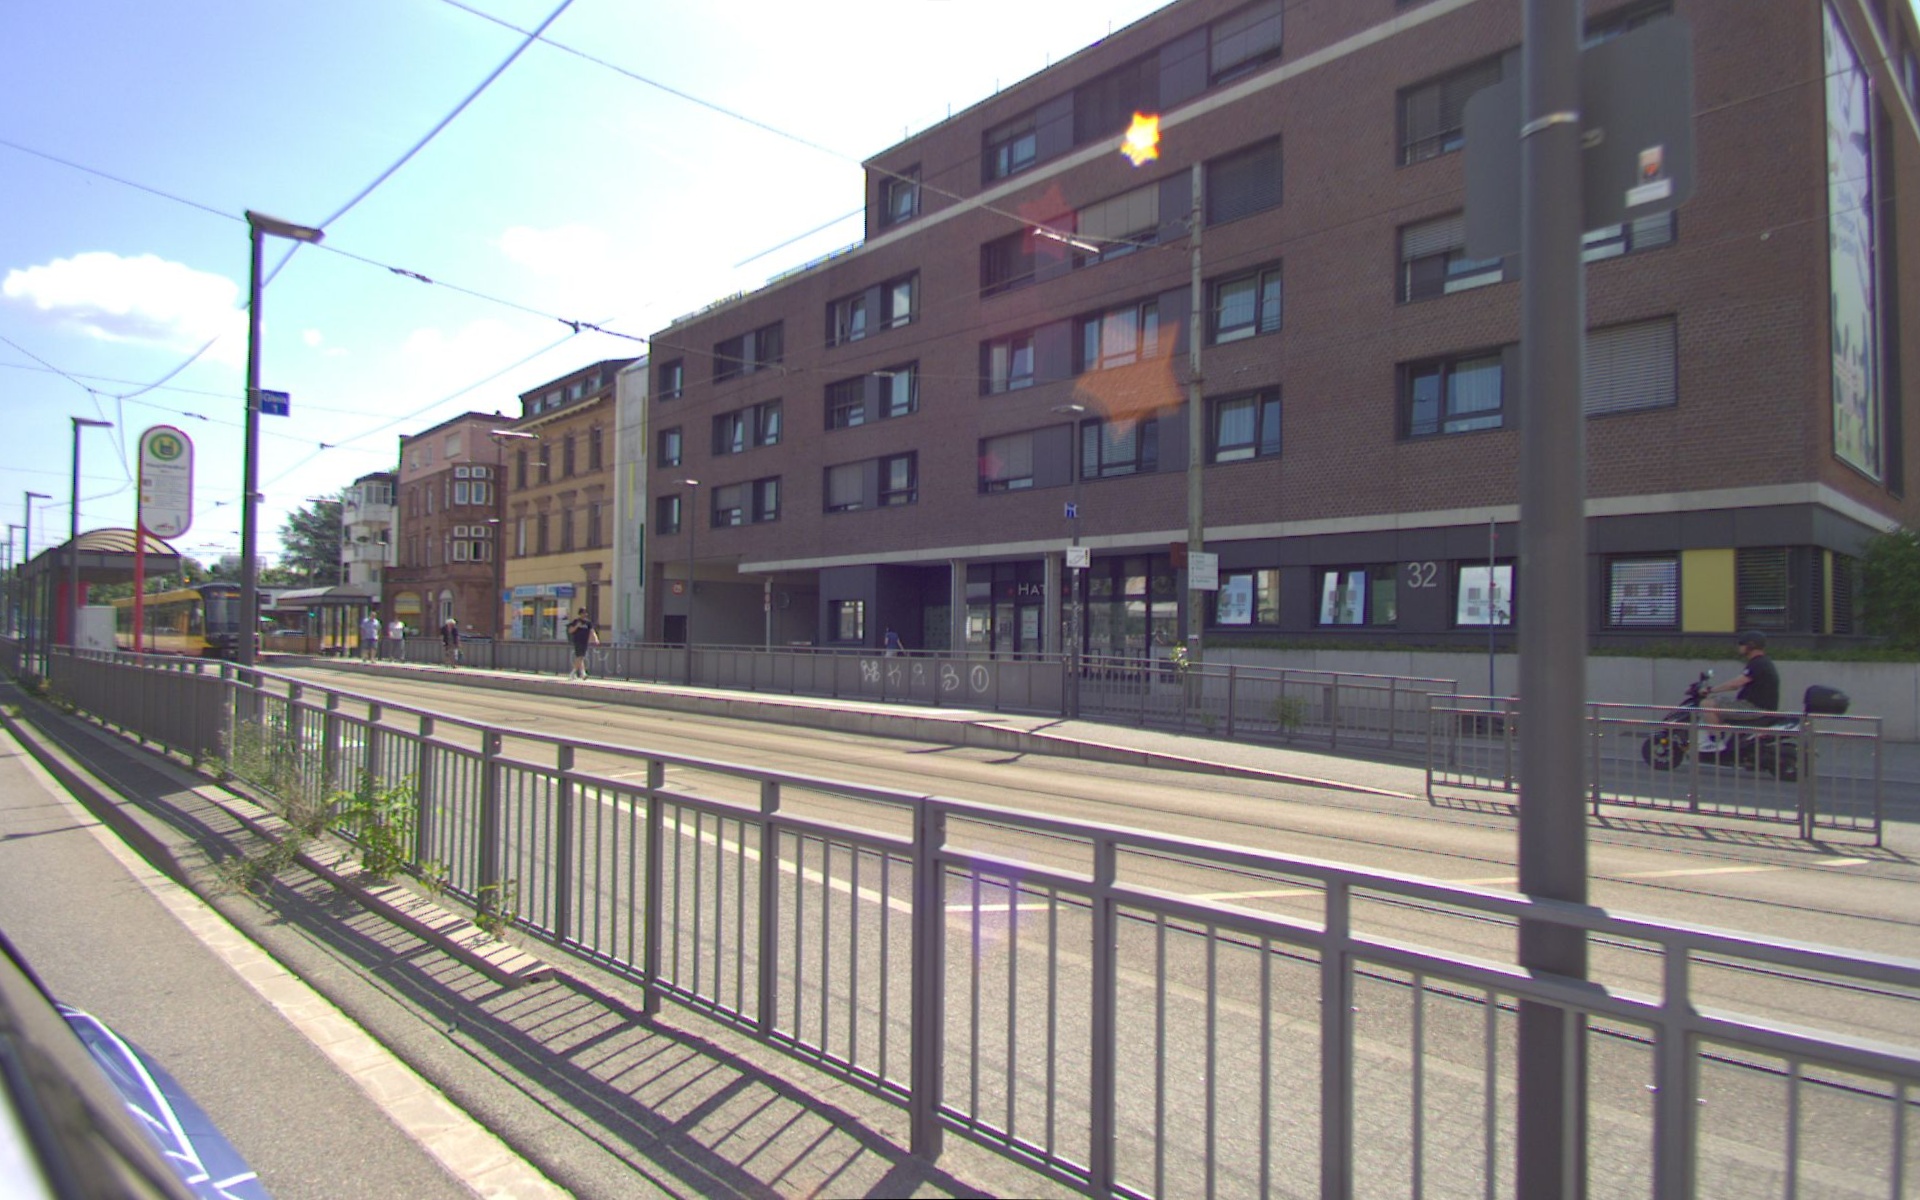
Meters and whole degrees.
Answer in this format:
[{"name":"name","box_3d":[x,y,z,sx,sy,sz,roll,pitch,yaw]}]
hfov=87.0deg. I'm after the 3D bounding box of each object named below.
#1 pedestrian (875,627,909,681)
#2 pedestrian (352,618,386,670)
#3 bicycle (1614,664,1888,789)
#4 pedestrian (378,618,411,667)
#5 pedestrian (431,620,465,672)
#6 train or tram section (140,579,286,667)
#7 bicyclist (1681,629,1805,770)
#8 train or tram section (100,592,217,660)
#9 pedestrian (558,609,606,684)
[{"name":"pedestrian","box_3d":[-2.050,1.618,30.656,0.761,1.608,0.677,-2,-4,44]},{"name":"pedestrian","box_3d":[-20.871,1.549,35.748,0.952,1.813,0.751,-2,-4,44]},{"name":"bicycle","box_3d":[8.966,1.375,11.586,2.388,1.232,0.808,-1,-3,41]},{"name":"pedestrian","box_3d":[-19.937,1.509,35.675,0.809,1.708,0.751,-2,-4,44]},{"name":"pedestrian","box_3d":[-15.953,1.431,31.552,0.761,1.608,0.677,-2,-4,44]},{"name":"train or tram section","box_3d":[-36.113,1.116,48.449,3.198,3.594,16.358,3,-3,-45]},{"name":"bicyclist","box_3d":[8.949,1.097,11.588,1.064,1.516,0.750,-1,-3,39]},{"name":"train or tram section","box_3d":[-49.067,1.571,61.512,3.213,3.594,20.512,3,-3,-45]},{"name":"pedestrian","box_3d":[-9.221,1.135,24.675,1.034,1.773,0.677,-2,-4,44]}]
